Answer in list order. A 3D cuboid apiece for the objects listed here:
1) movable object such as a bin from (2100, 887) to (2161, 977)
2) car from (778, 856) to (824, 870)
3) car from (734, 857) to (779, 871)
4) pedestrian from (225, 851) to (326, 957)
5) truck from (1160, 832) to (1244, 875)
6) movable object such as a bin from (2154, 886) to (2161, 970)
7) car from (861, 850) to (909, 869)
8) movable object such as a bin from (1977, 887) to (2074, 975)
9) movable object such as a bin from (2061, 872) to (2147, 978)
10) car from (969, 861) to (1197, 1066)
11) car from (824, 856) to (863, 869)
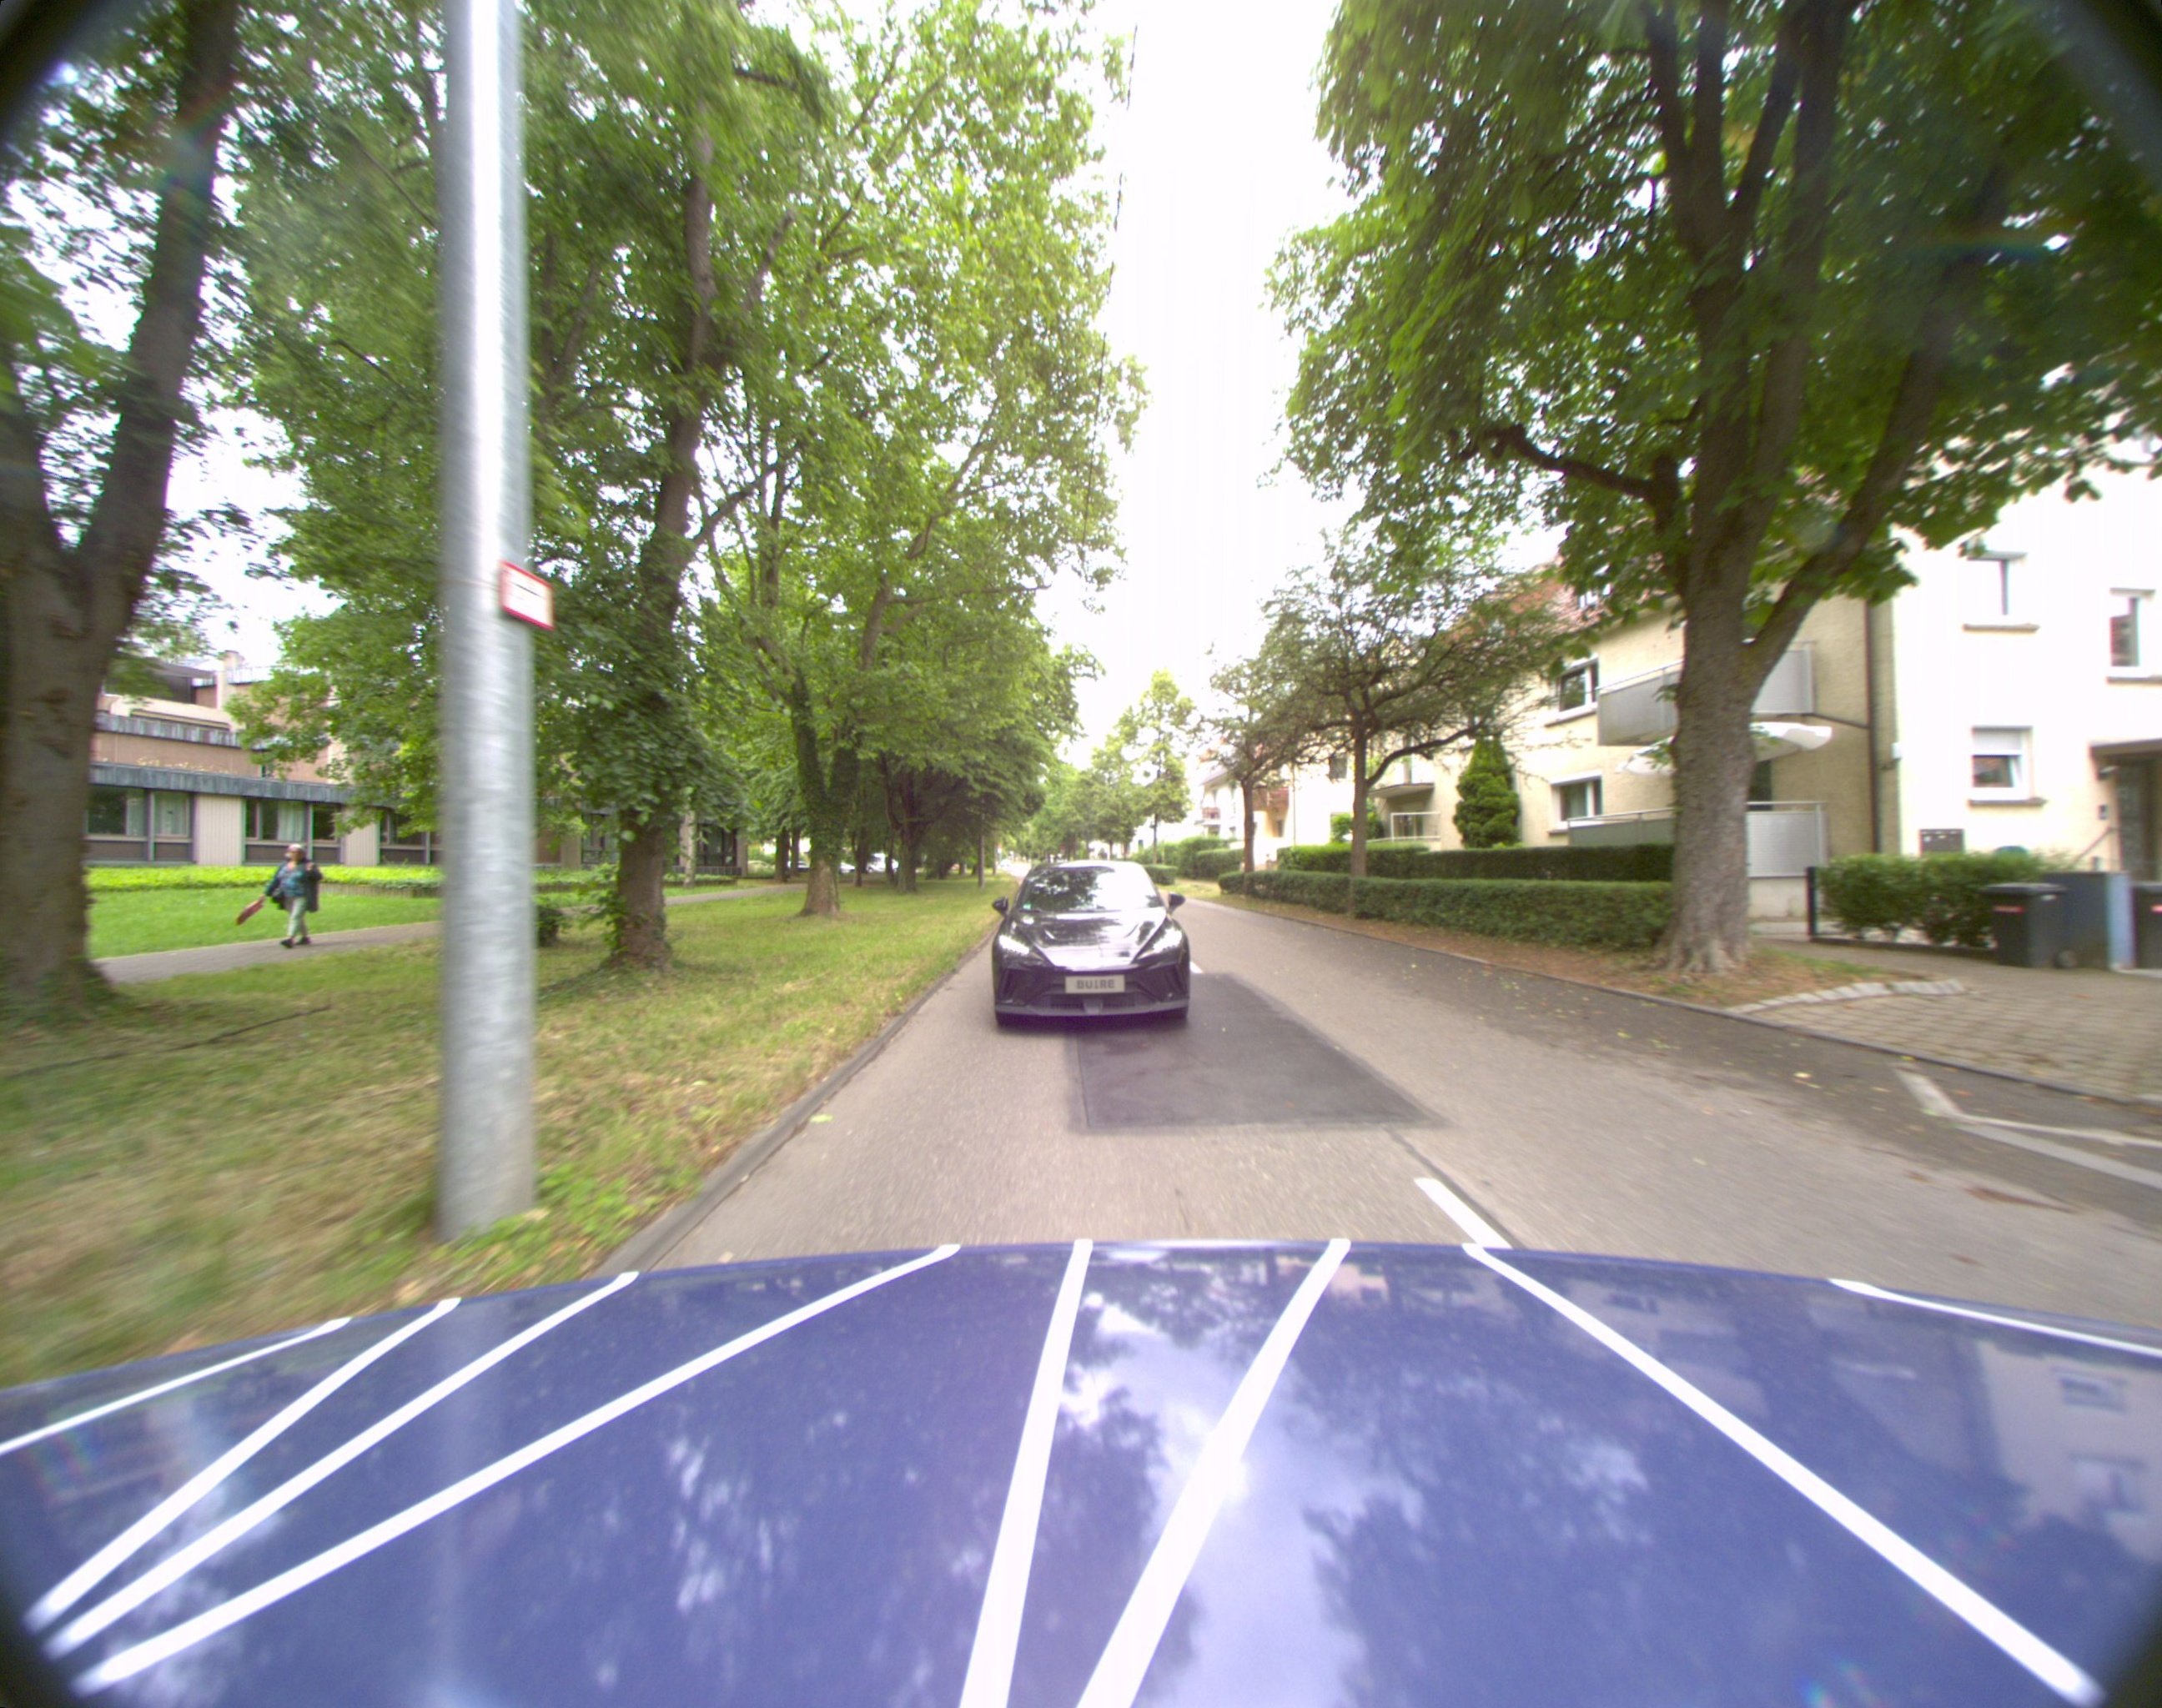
[{"bbox_3d":[11.259,0.810,8.058,0.382,0.908,0.405,0,0,-9],"label":"movable object such as a bin"},{"bbox_3d":[-31.670,1.014,86.002,1.795,1.501,4.614,-1,-1,39],"label":"car"},{"bbox_3d":[-34.934,1.049,81.827,1.795,1.501,4.009,-1,-1,36],"label":"car"},{"bbox_3d":[-13.141,0.797,12.425,0.770,1.676,0.814,0,0,-5],"label":"pedestrian"},{"bbox_3d":[9.135,-0.038,57.633,5.814,3.112,2.516,-1,0,-7],"label":"truck"},{"bbox_3d":[11.971,0.804,8.143,0.382,0.908,0.405,0,0,-9],"label":"movable object such as a bin"},{"bbox_3d":[-24.191,0.647,93.907,5.337,2.285,2.286,0,-1,-39],"label":"car"},{"bbox_3d":[10.330,0.824,8.321,0.457,0.909,0.508,0,0,-10],"label":"movable object such as a bin"},{"bbox_3d":[10.849,0.735,8.064,0.382,1.082,0.405,0,1,-9],"label":"movable object such as a bin"},{"bbox_3d":[0.018,0.916,8.413,1.799,1.552,4.471,-2,0,0],"label":"car"},{"bbox_3d":[-28.119,1.030,90.013,1.795,1.501,4.008,-2,-1,45],"label":"car"}]
